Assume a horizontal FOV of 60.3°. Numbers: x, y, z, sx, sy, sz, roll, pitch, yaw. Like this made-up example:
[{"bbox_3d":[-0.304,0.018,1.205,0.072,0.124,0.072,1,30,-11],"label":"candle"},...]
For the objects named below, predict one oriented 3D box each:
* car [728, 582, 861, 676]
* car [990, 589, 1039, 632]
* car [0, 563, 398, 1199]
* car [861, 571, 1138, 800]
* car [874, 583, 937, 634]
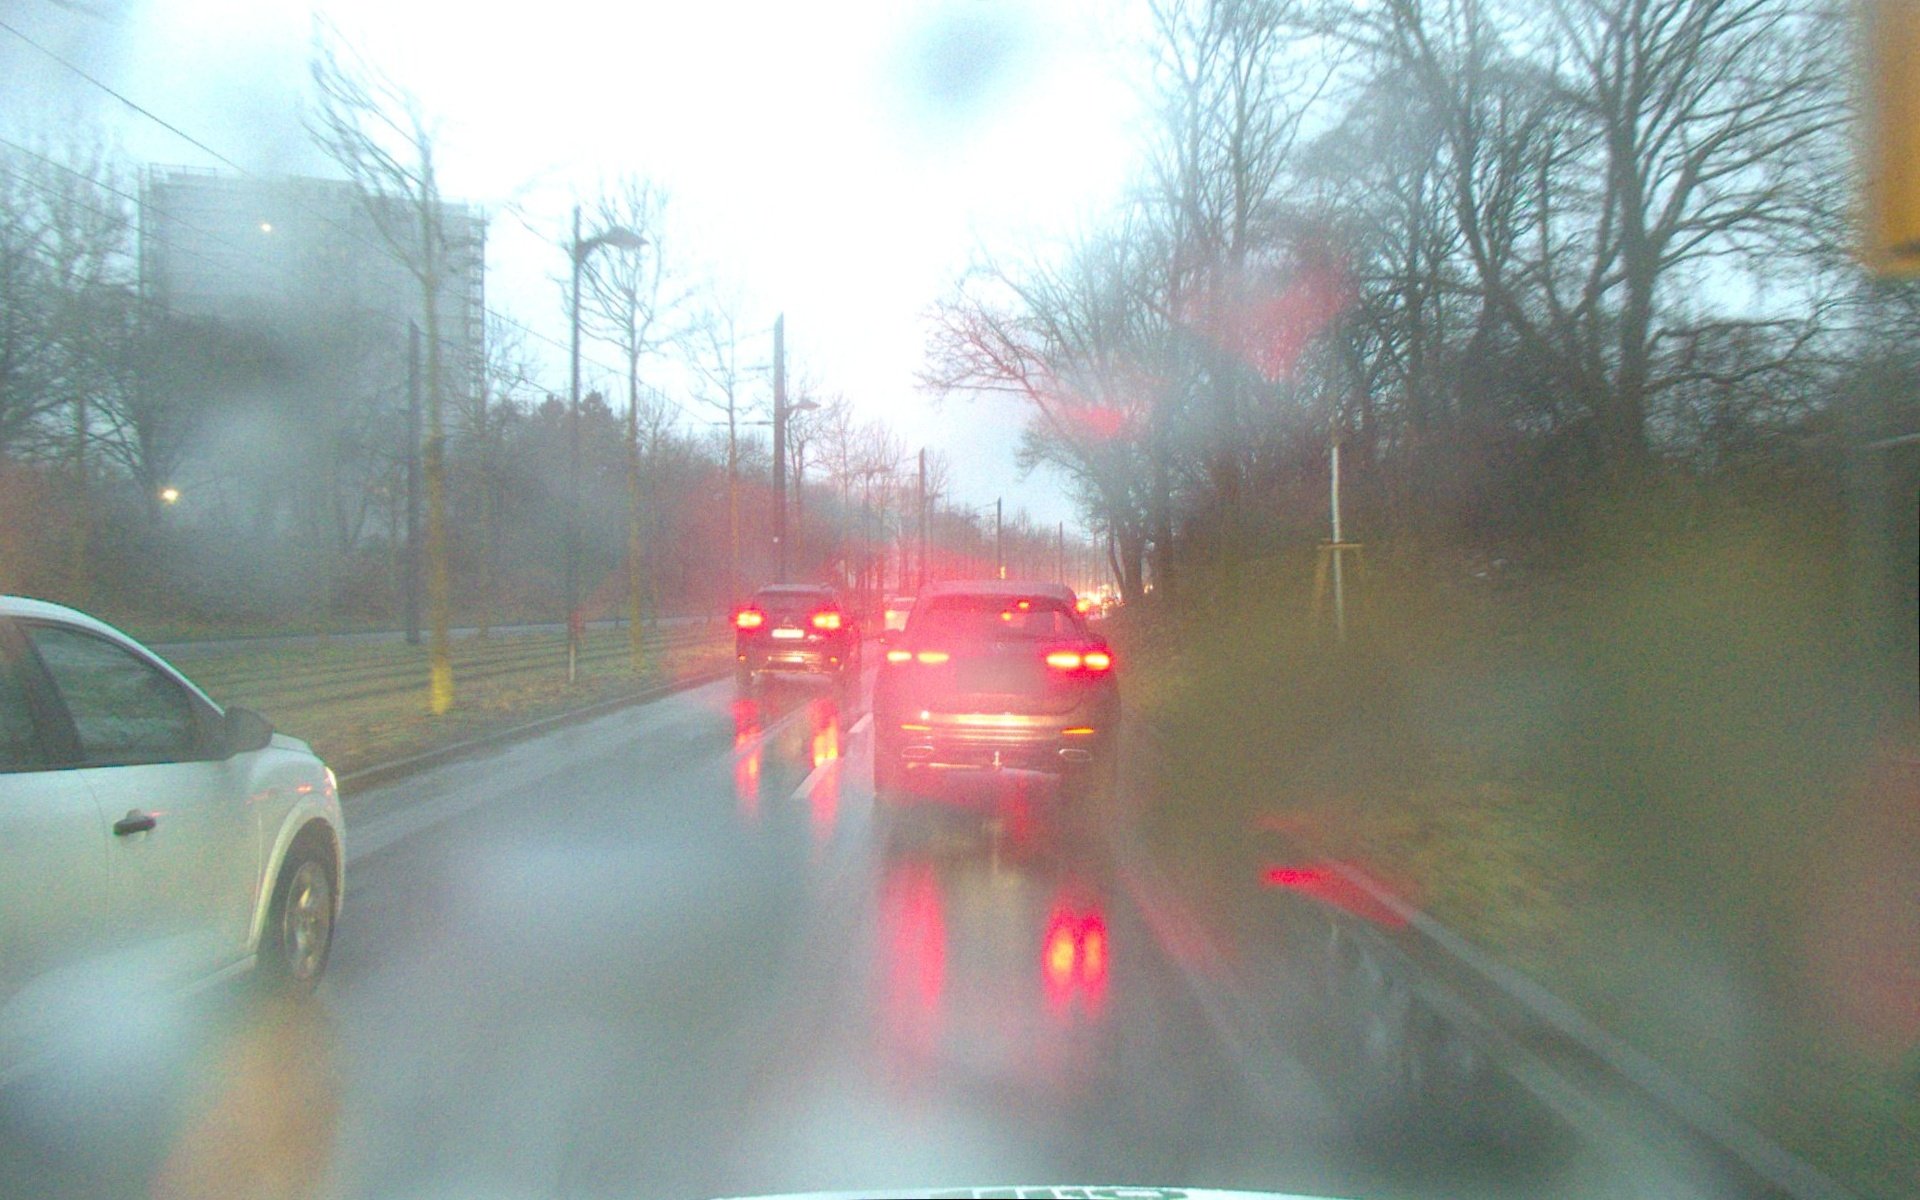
[{"bbox_3d":[-2.763,0.447,28.433,1.841,1.485,4.001,0,1,1],"label":"car"},{"bbox_3d":[2.106,0.368,62.913,1.672,1.585,3.998,0,0,5],"label":"car"},{"bbox_3d":[-3.083,0.685,4.502,1.673,1.551,4.135,0,0,0],"label":"car"},{"bbox_3d":[0.266,0.590,13.788,1.957,1.612,4.000,1,1,-1],"label":"car"},{"bbox_3d":[-1.738,0.248,54.064,1.841,1.621,4.001,0,1,1],"label":"car"}]
